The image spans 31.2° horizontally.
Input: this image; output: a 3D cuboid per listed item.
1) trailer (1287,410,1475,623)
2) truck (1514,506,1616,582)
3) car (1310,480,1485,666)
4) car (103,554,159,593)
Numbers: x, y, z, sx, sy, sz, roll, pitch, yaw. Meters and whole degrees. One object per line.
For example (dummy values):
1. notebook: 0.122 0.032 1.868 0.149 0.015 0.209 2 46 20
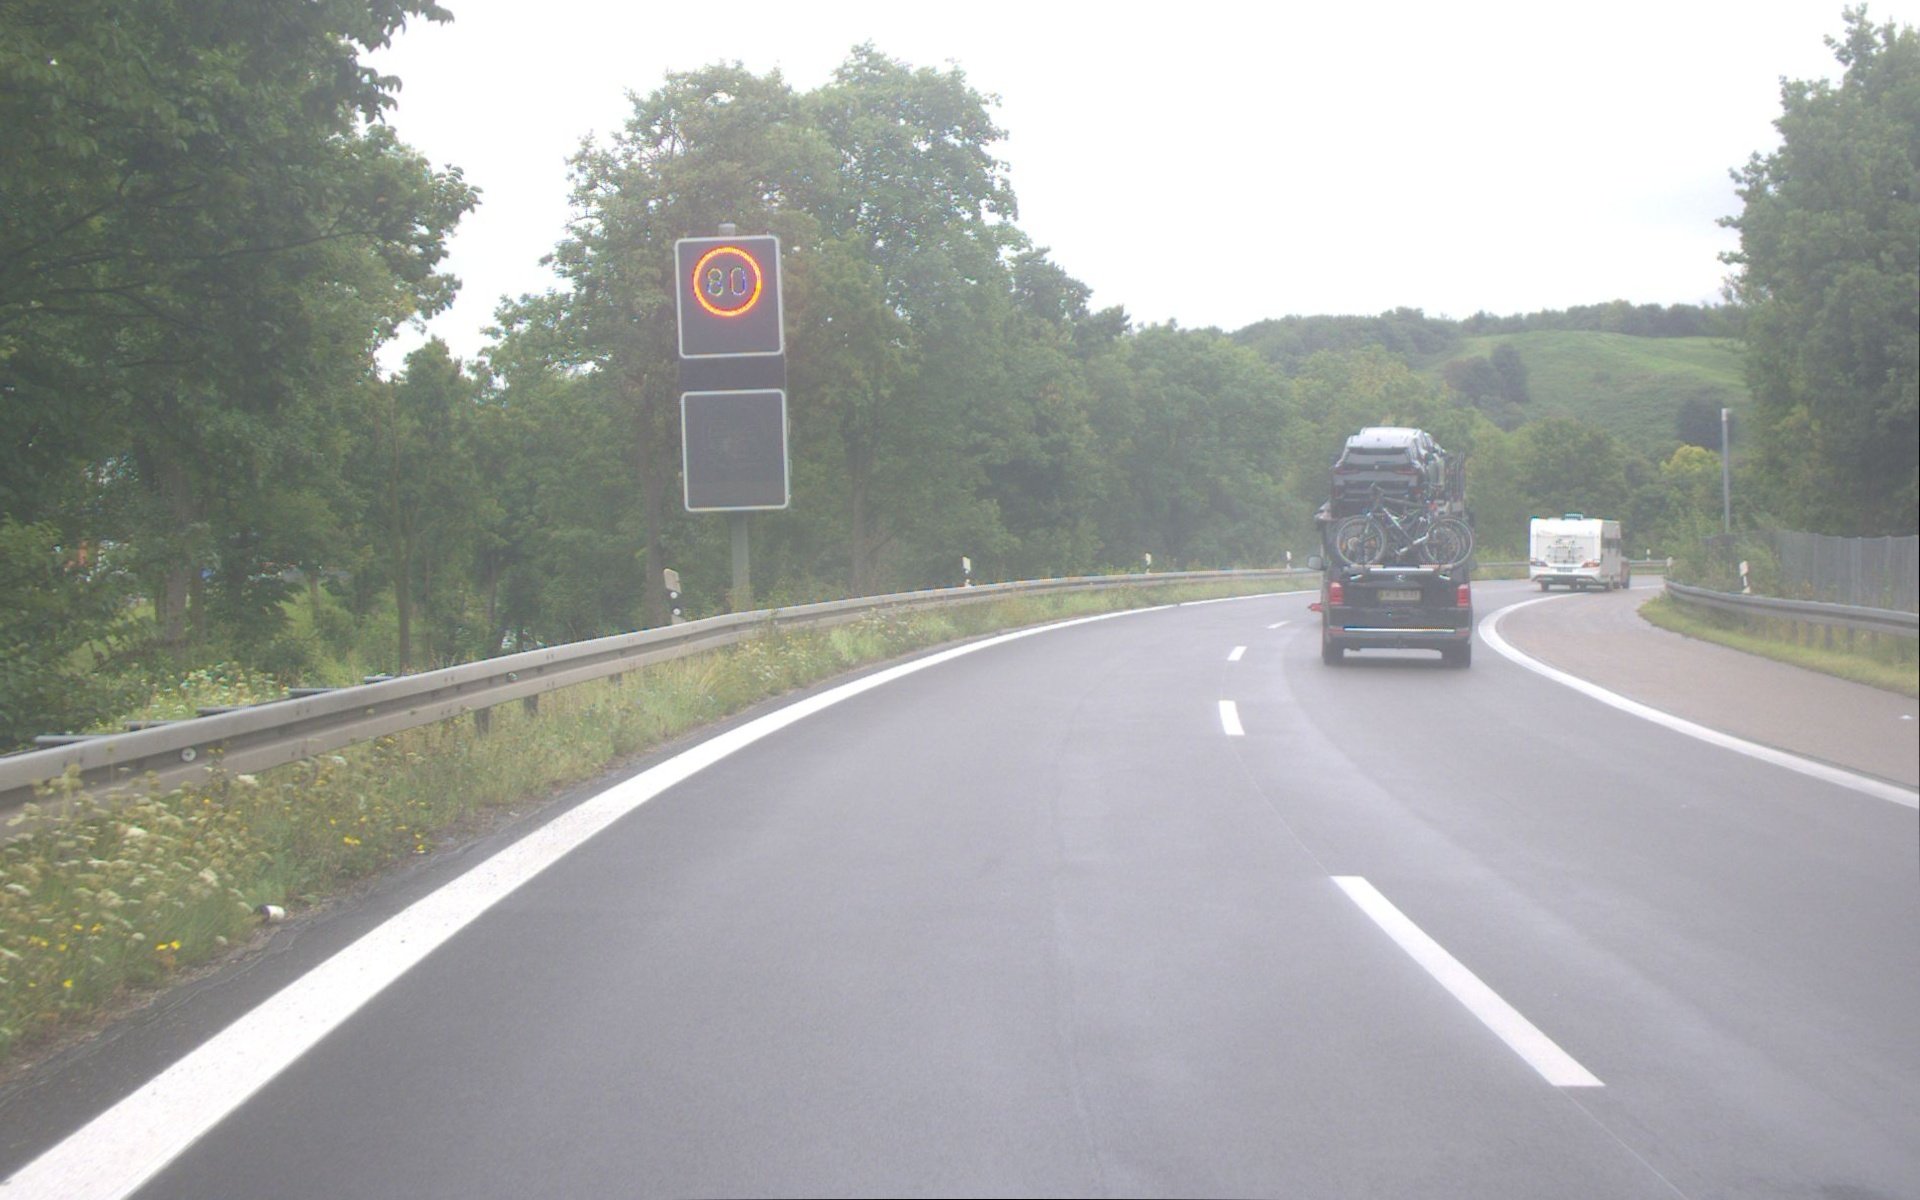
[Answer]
1. trailer: 8.735 -1.752 71.898 3.450 3.986 12.024 2 2 6
2. truck: 21.606 -2.012 122.529 2.651 2.596 6.414 -1 1 18
3. car: 5.733 -0.393 45.323 2.110 2.257 5.895 -1 1 7
4. car: -35.615 -1.121 147.864 1.961 1.632 5.626 0 1 -10
